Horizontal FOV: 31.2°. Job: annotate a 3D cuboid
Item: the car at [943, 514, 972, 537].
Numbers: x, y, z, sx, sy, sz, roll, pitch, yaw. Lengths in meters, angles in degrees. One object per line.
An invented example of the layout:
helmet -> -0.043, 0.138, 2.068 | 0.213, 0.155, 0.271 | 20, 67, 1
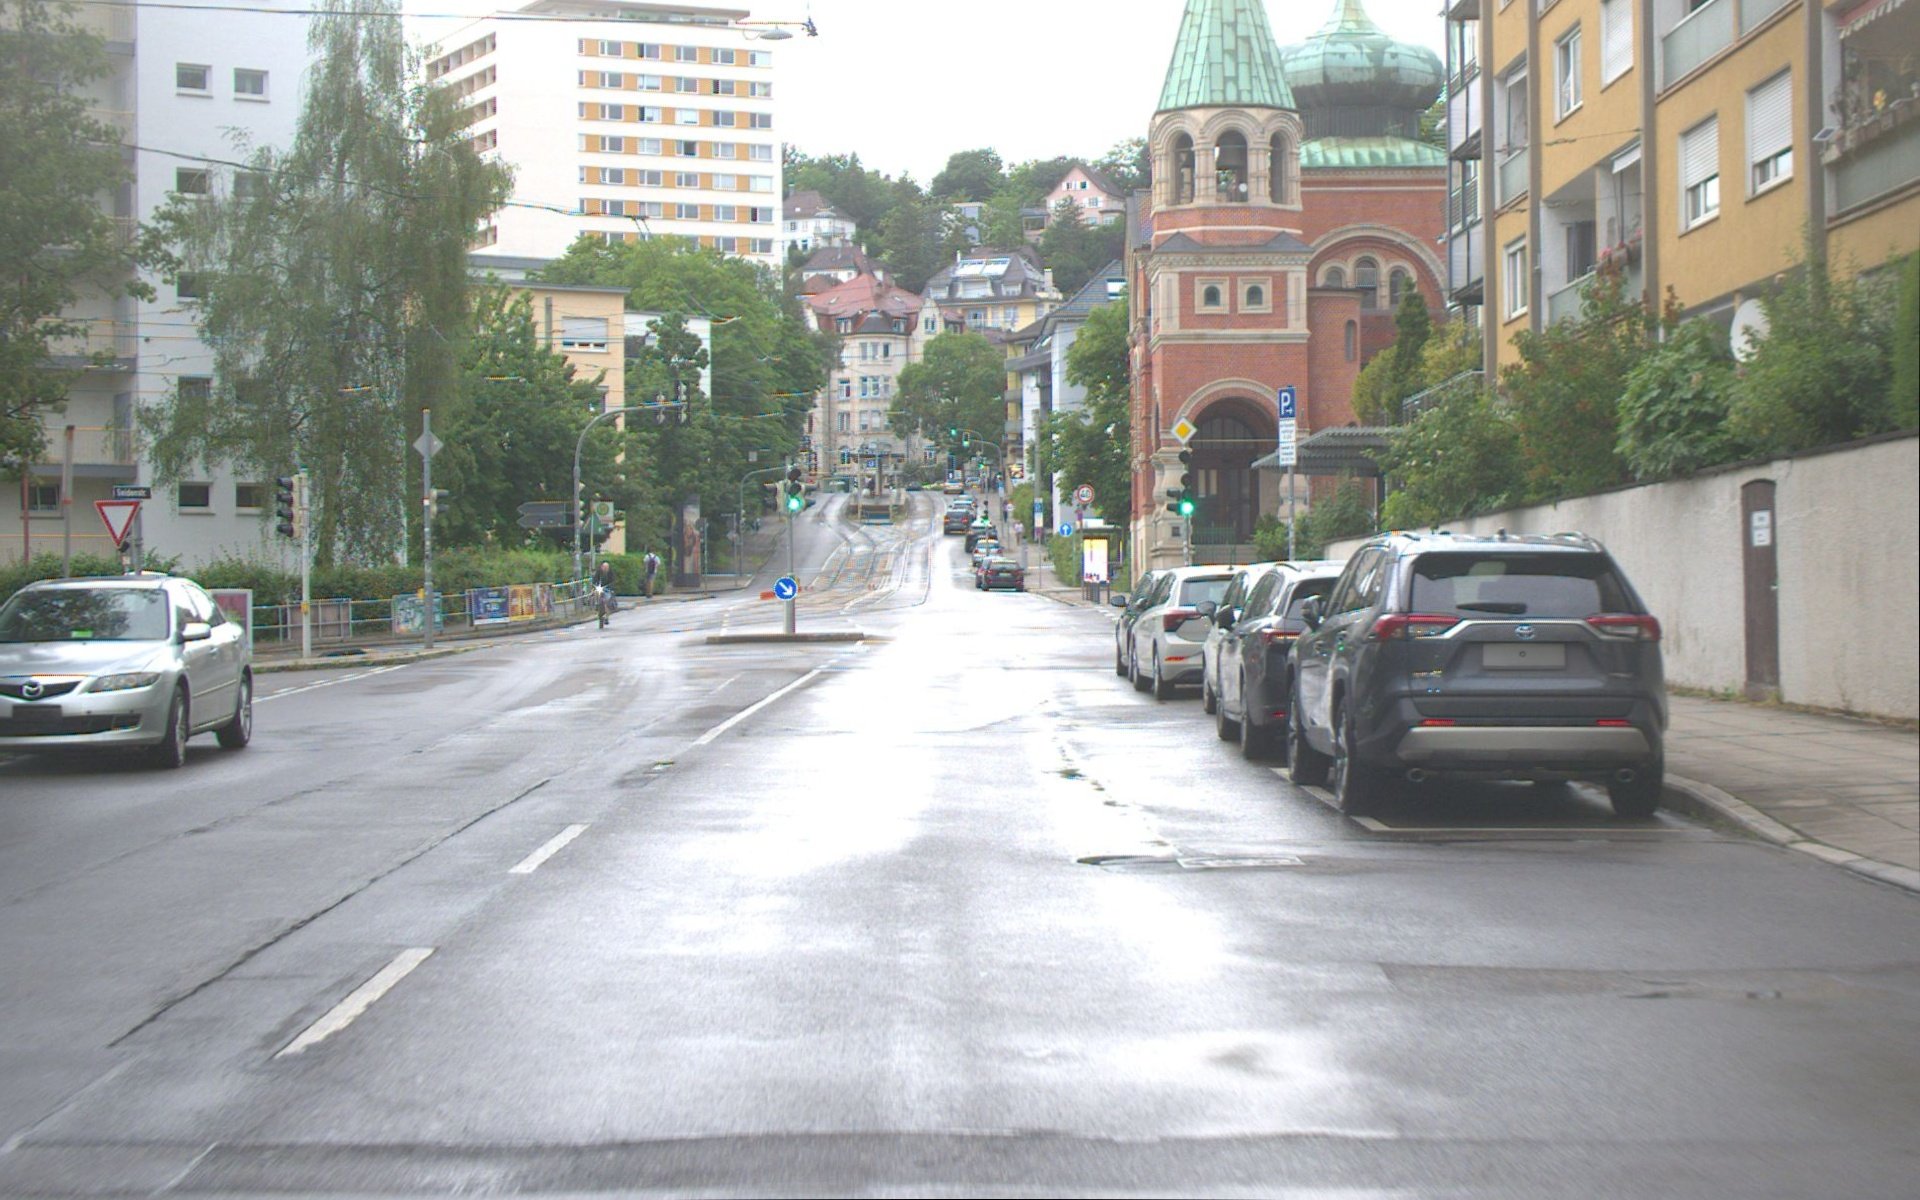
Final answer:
car -> -0.180, -5.042, 232.613 | 1.908, 1.505, 4.000 | 1, 1, -1

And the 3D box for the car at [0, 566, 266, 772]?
car -> -6.635, 0.498, 26.664 | 1.709, 1.445, 4.294 | -1, 0, -1

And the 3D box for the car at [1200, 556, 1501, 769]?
car -> 2.971, 0.429, 26.917 | 1.817, 1.517, 4.076 | 1, 1, -1

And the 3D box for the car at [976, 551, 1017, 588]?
car -> 1.652, -1.406, 155.889 | 1.732, 1.648, 4.000 | 0, 1, 3

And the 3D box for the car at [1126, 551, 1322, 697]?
car -> 2.910, 0.232, 38.651 | 1.817, 1.517, 4.076 | 1, 1, -1

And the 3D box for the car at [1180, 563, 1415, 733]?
car -> 3.224, 0.420, 33.573 | 1.817, 1.517, 4.076 | 1, 1, -1

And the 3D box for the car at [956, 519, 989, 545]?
car -> 0.765, -4.129, 208.509 | 1.908, 1.505, 4.000 | 1, 1, -1

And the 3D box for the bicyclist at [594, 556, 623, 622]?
bicyclist -> -8.837, -0.270, 86.391 | 0.677, 1.656, 0.650 | -1, 0, -3

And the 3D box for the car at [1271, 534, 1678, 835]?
car -> 3.044, 0.446, 21.152 | 1.817, 1.647, 4.076 | 1, 1, -1

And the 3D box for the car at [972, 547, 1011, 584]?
car -> 1.543, -1.673, 167.219 | 1.851, 1.760, 4.000 | 0, 0, 1

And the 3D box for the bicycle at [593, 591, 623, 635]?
bicycle -> -8.834, 0.323, 86.357 | 0.677, 1.104, 1.800 | -1, 0, -3

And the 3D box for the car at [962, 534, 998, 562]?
car -> 1.120, -2.901, 192.230 | 1.892, 1.505, 4.000 | 1, 1, -1

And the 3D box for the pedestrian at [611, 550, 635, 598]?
pedestrian -> -13.311, -1.035, 135.707 | 0.887, 1.886, 0.923 | -1, 1, -6
